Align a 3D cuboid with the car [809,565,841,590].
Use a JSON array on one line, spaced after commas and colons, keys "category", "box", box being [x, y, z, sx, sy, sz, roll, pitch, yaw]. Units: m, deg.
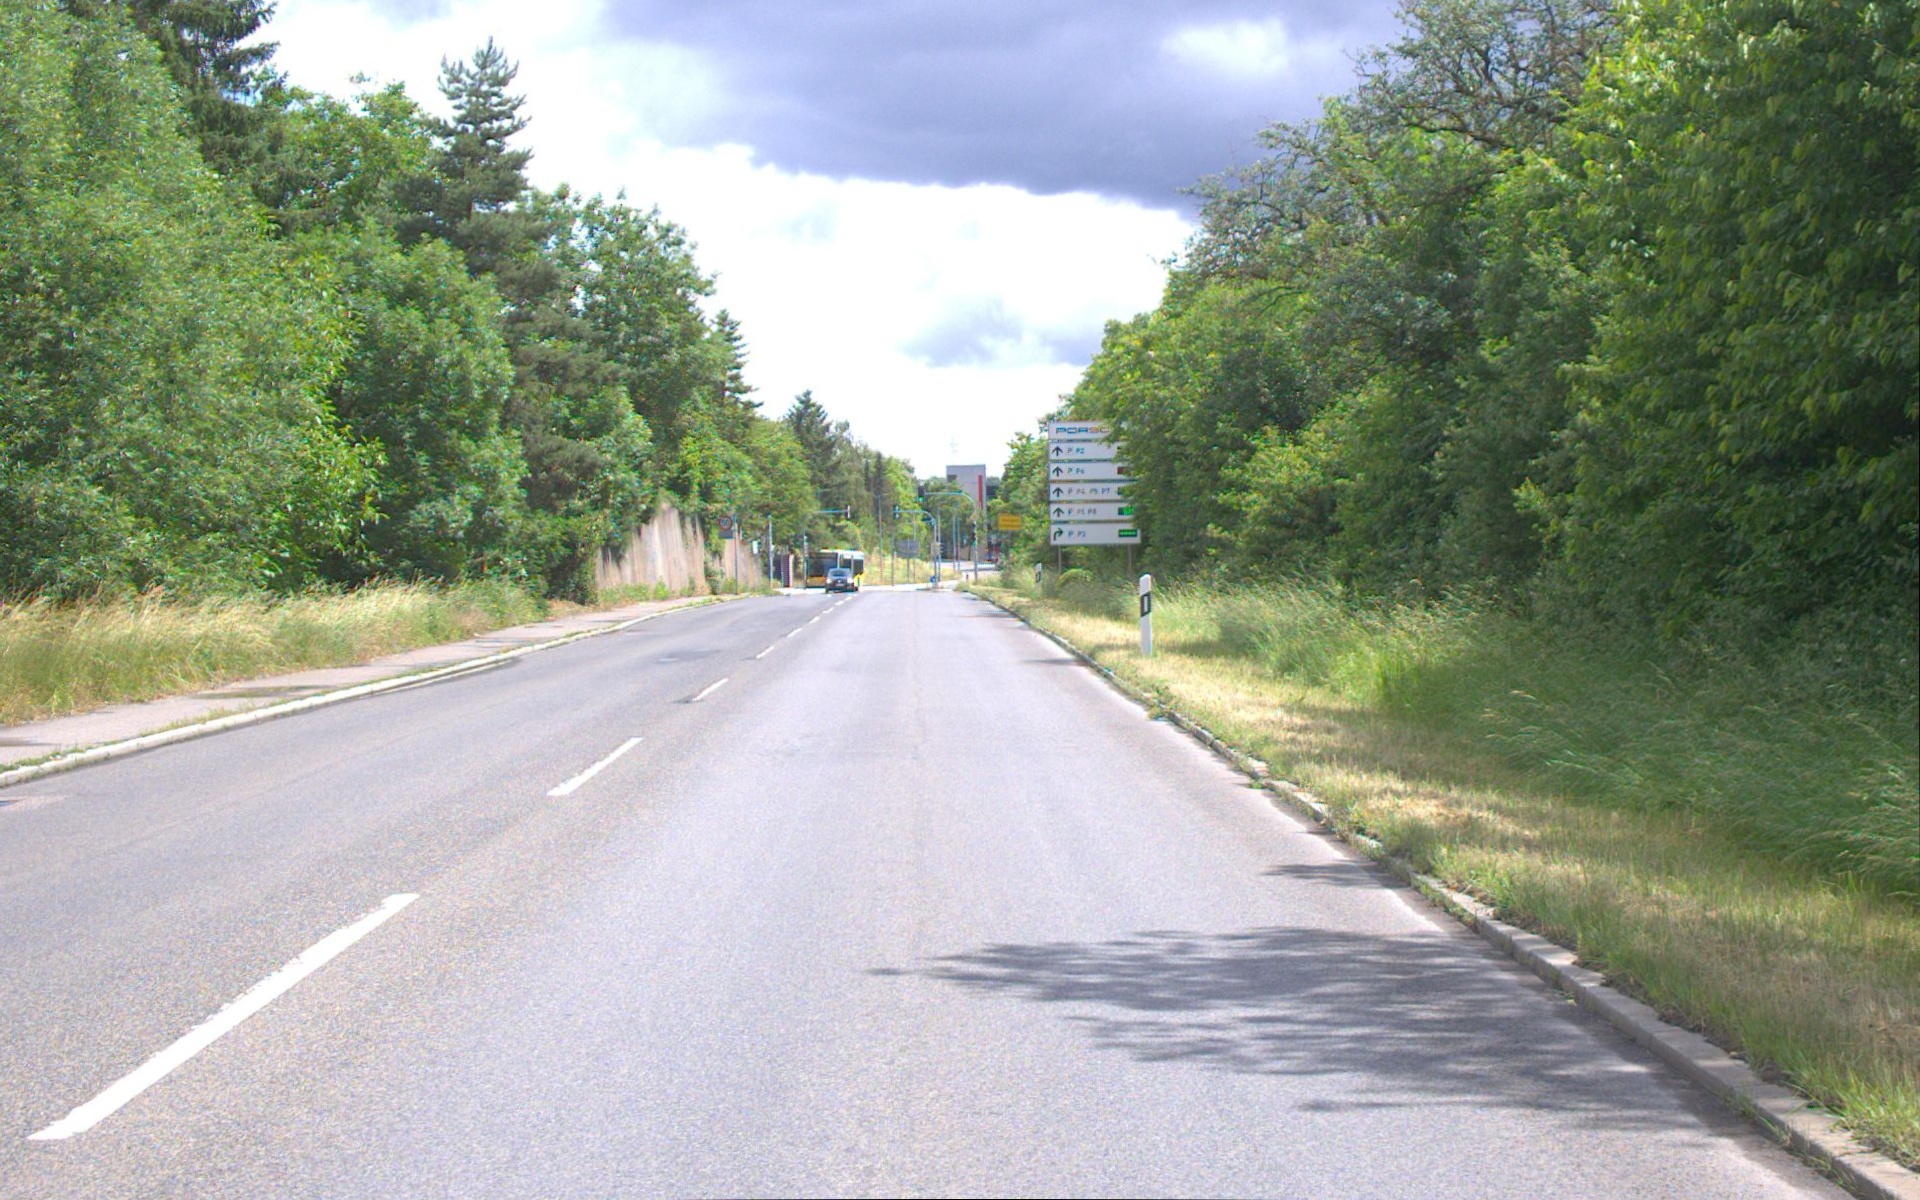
[{"category": "car", "box": [-8.053, -1.356, 205.533, 1.751, 1.459, 4.000, -2, 1, -1]}]
